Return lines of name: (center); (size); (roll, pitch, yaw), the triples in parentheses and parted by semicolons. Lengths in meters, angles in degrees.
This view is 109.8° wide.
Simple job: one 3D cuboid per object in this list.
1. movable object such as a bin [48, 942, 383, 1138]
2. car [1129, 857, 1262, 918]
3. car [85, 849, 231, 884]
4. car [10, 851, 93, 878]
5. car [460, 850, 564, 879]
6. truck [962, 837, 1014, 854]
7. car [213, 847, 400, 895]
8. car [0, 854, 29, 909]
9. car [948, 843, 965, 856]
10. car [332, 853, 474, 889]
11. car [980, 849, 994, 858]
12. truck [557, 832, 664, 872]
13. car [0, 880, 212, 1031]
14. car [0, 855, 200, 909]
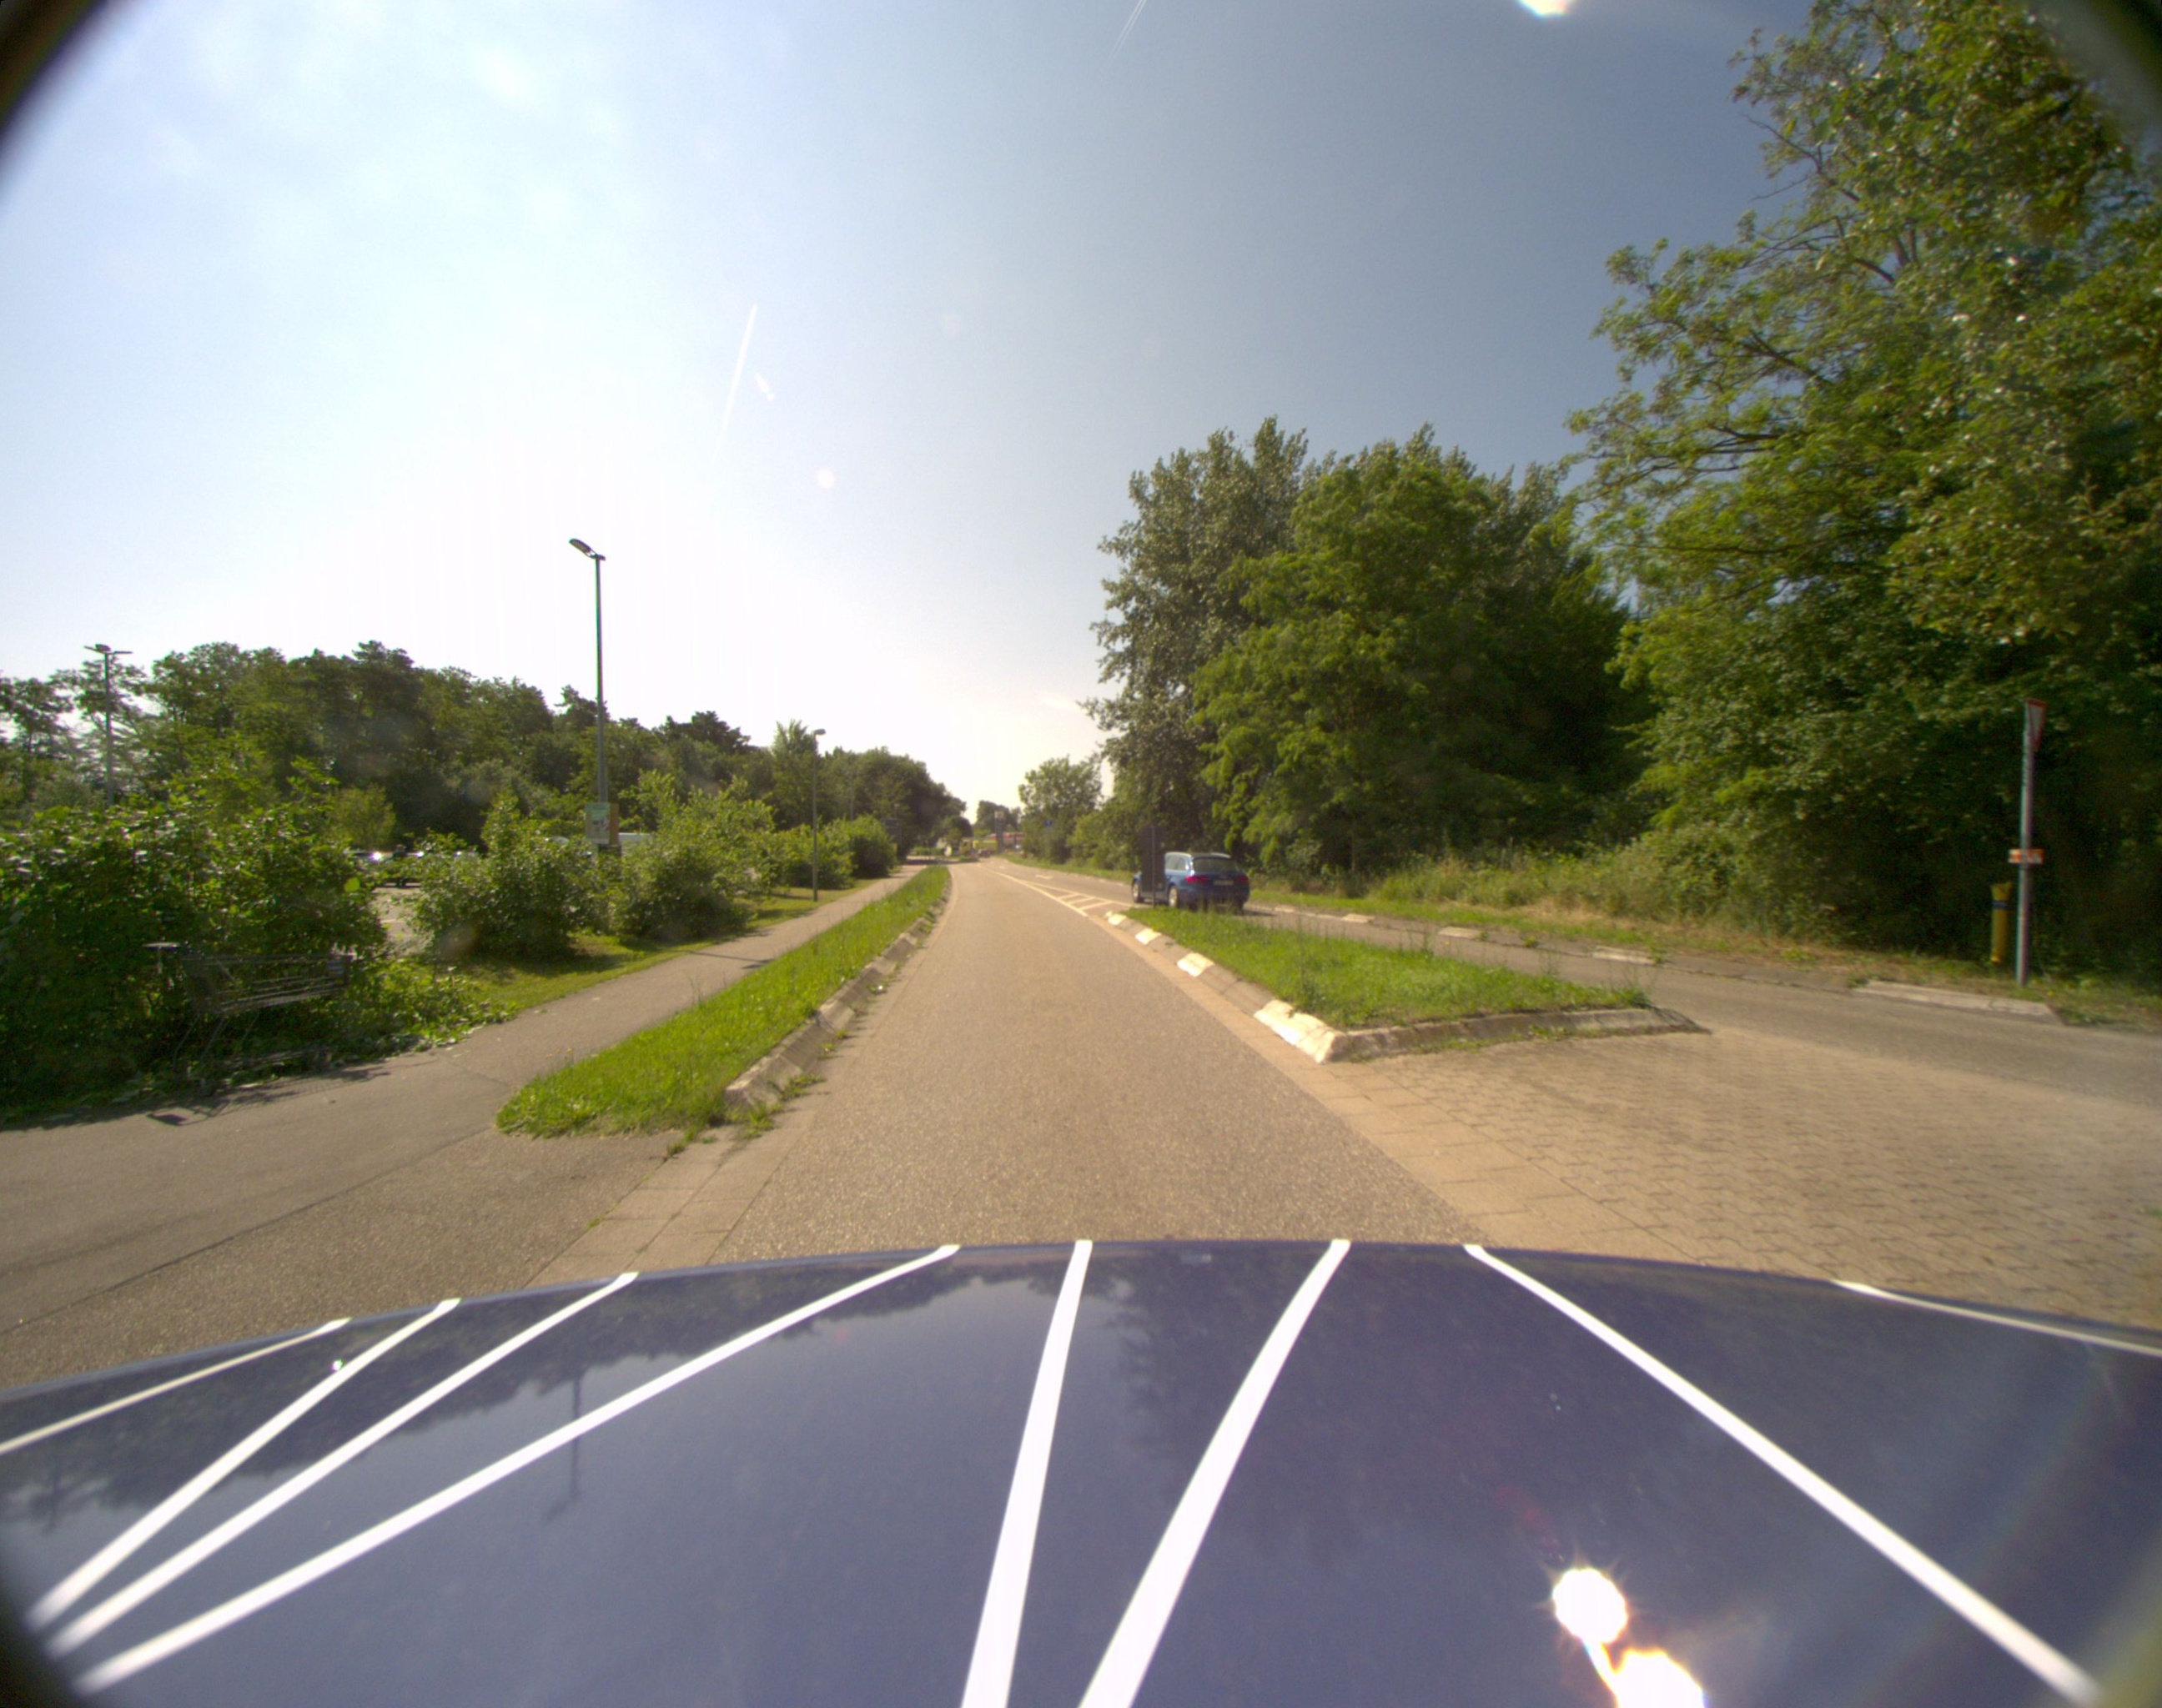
movable object such as a bin: (-6.568, 1.332, 5.877); (0.869, 1.114, 1.457); (-1, 1, 18)
car: (2.780, 0.779, 19.592); (1.839, 1.379, 4.418); (0, 0, -14)
car: (-44.141, 0.550, 36.501); (4.007, 1.575, 1.965); (0, 1, -32)
car: (-67.451, 0.670, 49.852); (2.075, 1.701, 3.989); (-1, 1, -36)
car: (-29.811, 0.529, 39.960); (3.978, 1.444, 1.901); (0, 1, -20)
truck: (-19.310, -1.718, 157.163); (10.344, 3.374, 3.880); (0, 1, -12)
car: (-27.119, 0.562, 26.772); (4.168, 1.565, 1.998); (-1, 1, -13)
car: (-35.701, 0.939, 22.678); (4.568, 1.693, 1.994); (-3, 2, -36)
car: (-23.329, -0.883, 142.733); (1.920, 2.386, 4.899); (-1, 1, -25)
car: (-28.022, 0.671, 31.550); (4.003, 1.419, 1.746); (0, 1, -17)
car: (-14.760, -0.037, 119.242); (1.705, 1.381, 4.288); (-1, 1, -14)
truck: (-31.208, -0.130, 50.576); (5.618, 2.590, 2.201); (0, 1, -11)
car: (-13.198, 1.124, 8.933); (3.605, 1.553, 1.812); (1, 0, -8)
car: (-27.797, 0.747, 21.264); (4.000, 1.434, 1.649); (0, 1, -8)
